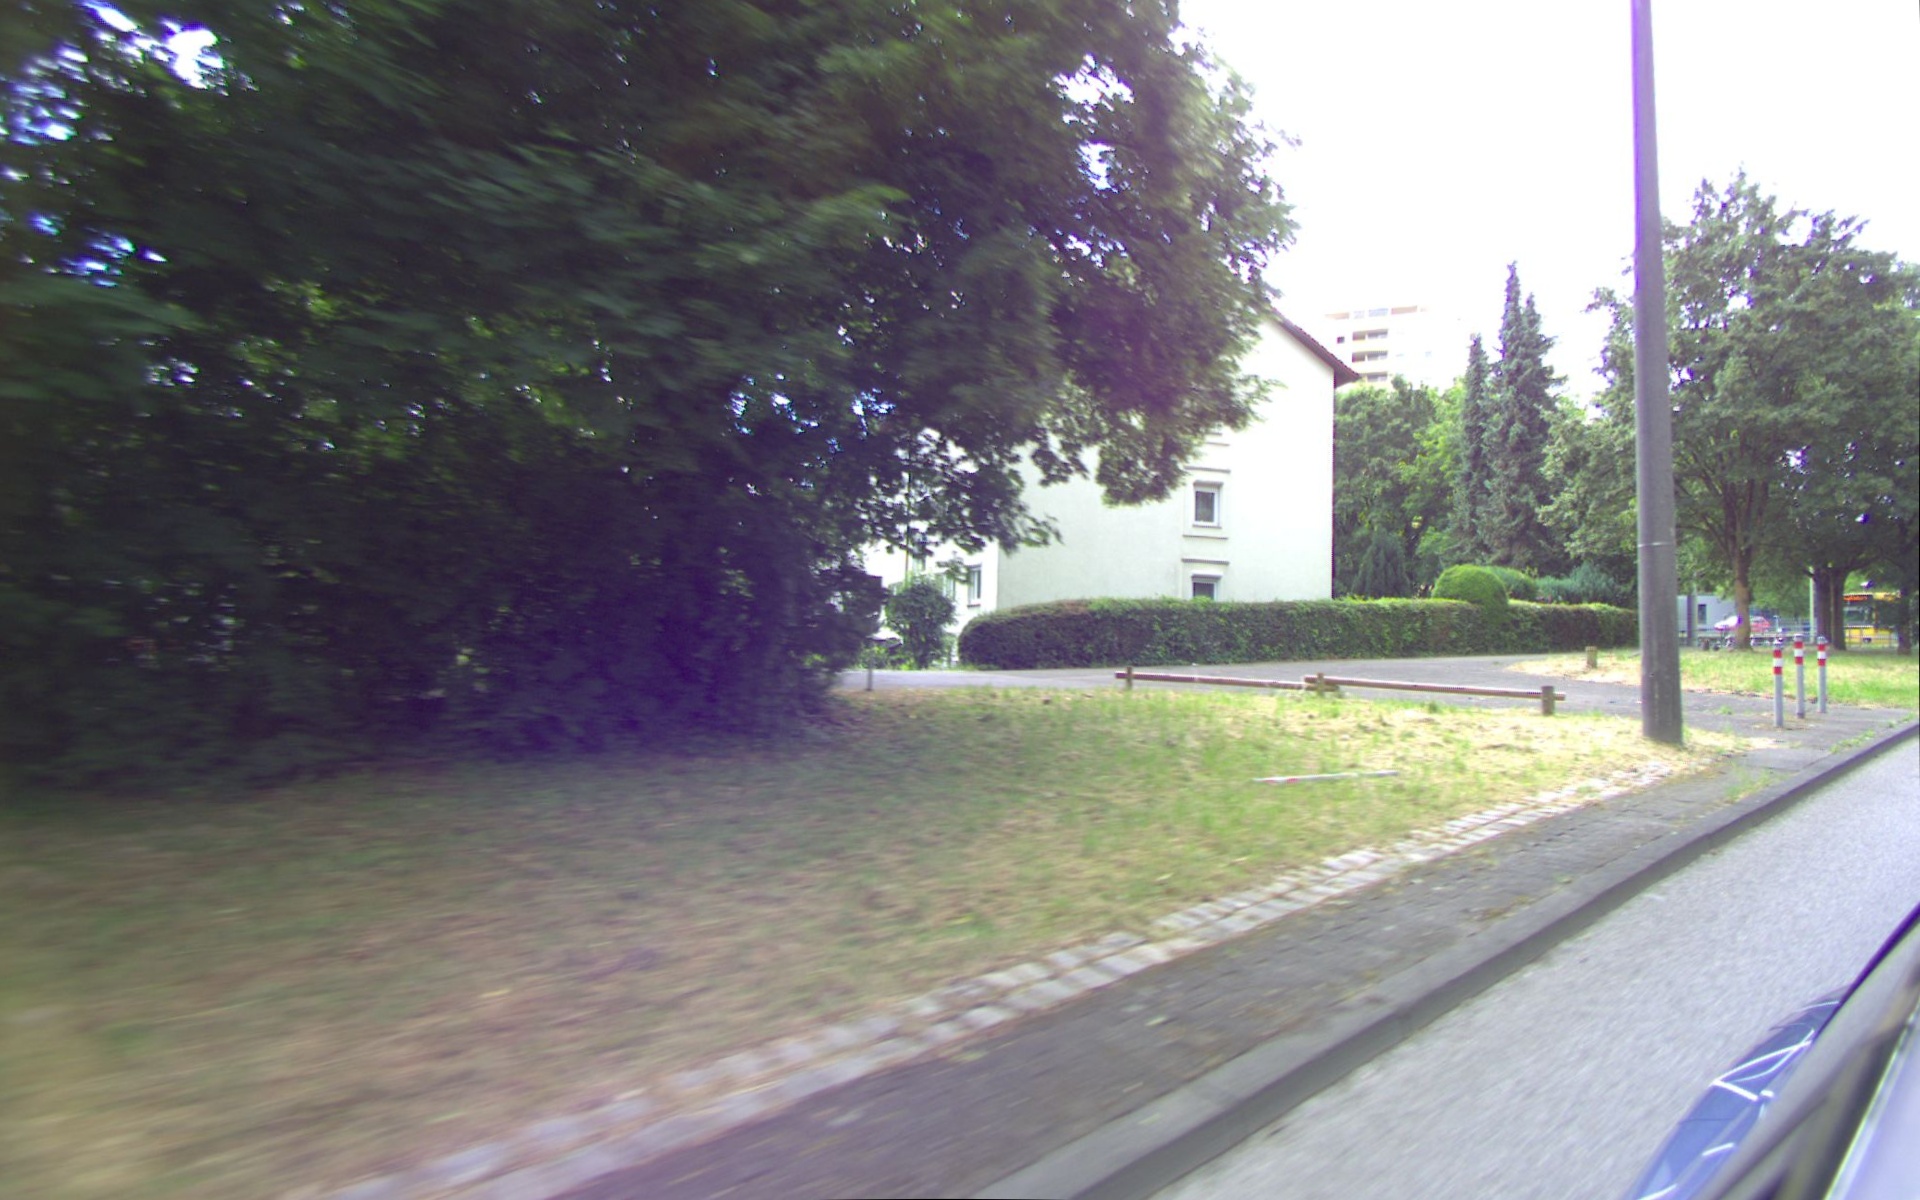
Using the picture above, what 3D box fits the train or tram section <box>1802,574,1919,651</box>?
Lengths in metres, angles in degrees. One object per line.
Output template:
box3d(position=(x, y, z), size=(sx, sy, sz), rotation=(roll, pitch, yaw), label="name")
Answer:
box3d(position=(52.586, 0.799, 52.182), size=(19.104, 3.636, 2.826), rotation=(1, -4, -12), label="train or tram section")
